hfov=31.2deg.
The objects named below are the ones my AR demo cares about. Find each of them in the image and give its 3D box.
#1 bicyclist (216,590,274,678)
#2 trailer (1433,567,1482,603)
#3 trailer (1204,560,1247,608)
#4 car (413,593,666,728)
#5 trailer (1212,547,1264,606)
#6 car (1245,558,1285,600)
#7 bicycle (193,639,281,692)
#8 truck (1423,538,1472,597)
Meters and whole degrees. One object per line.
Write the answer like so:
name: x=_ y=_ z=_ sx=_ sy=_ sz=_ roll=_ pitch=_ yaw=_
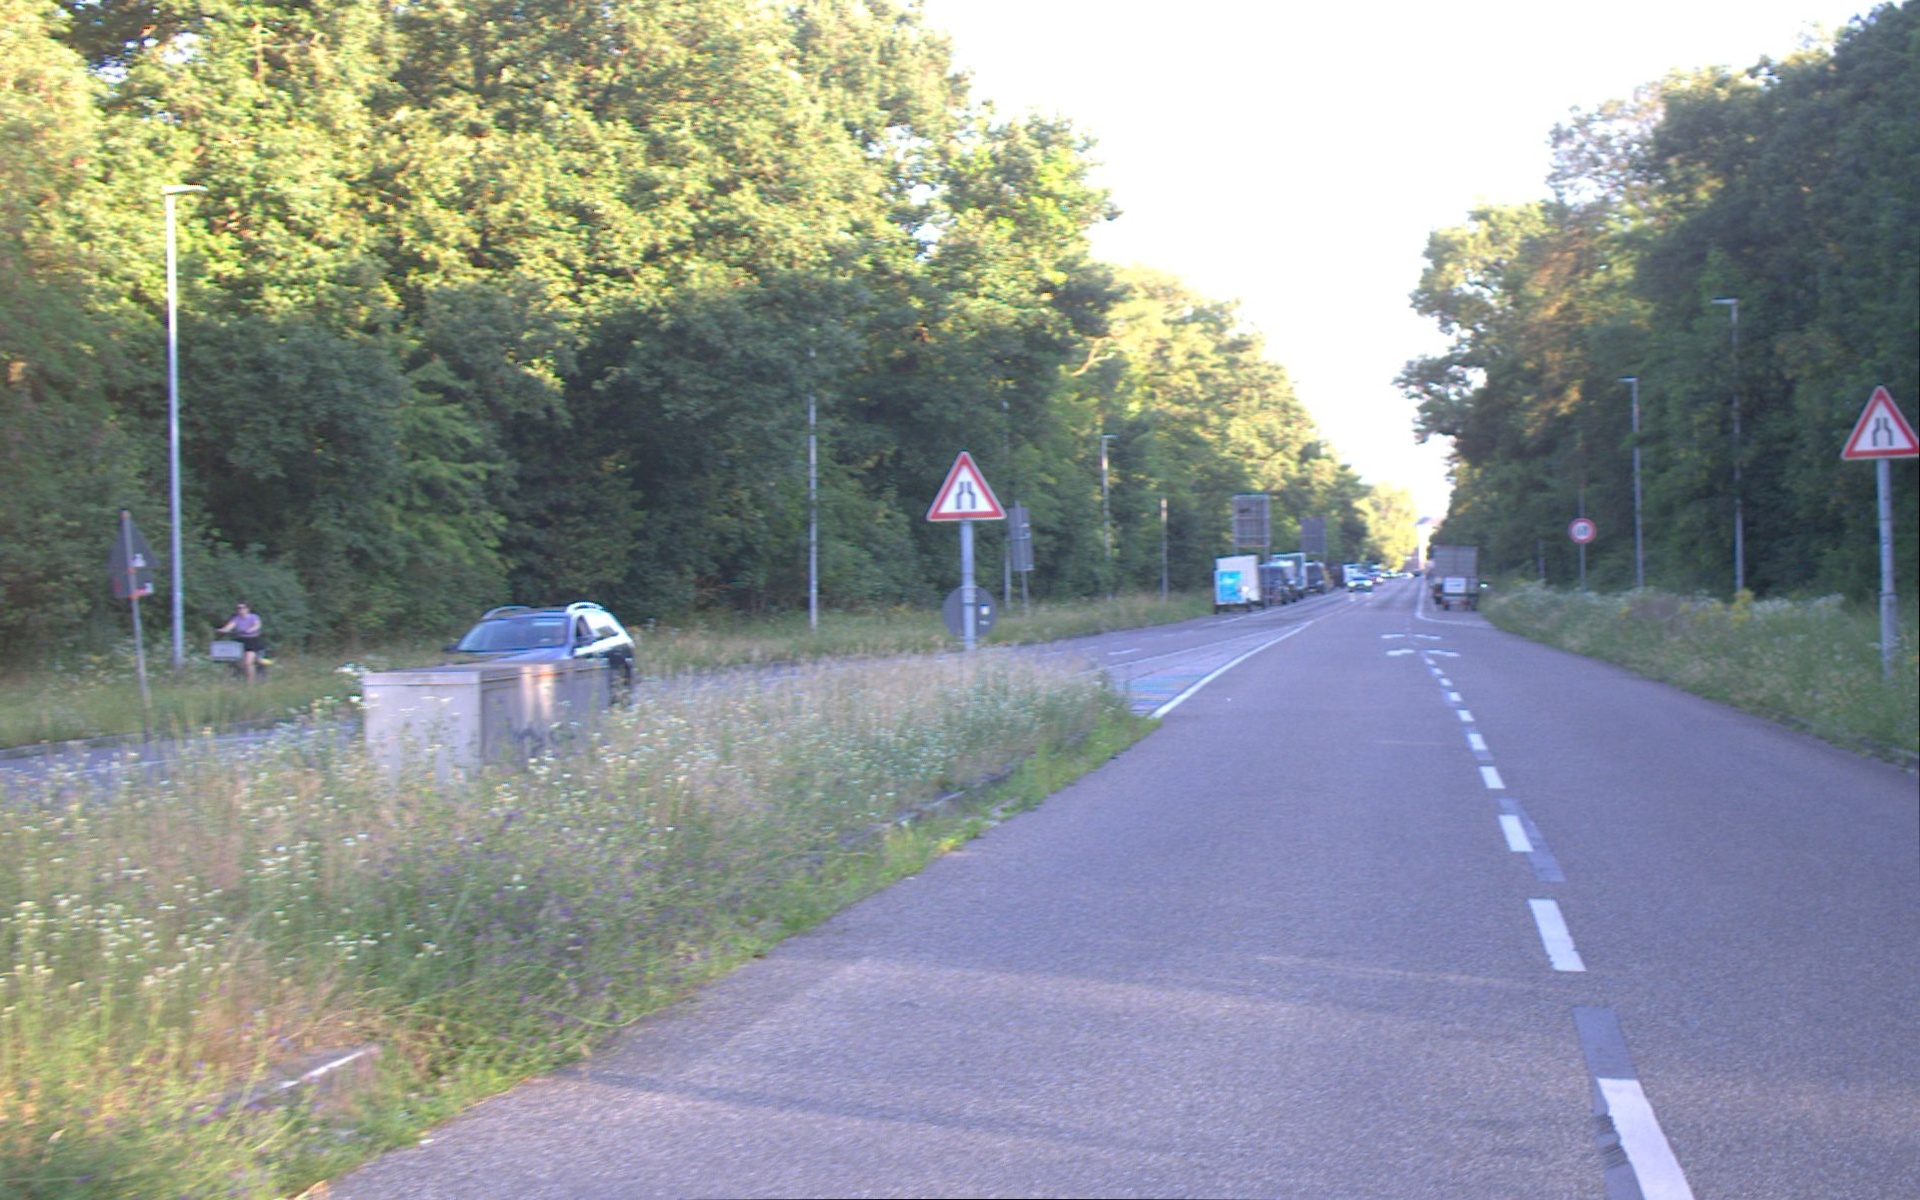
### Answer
bicyclist: x=-11.860 y=0.552 z=57.042 sx=0.586 sy=1.425 sz=0.822 roll=-1 pitch=1 yaw=15
trailer: x=23.396 y=-0.715 z=161.733 sx=1.457 sy=1.656 sz=3.773 roll=-2 pitch=0 yaw=21
trailer: x=12.658 y=-0.769 z=163.543 sx=1.817 sy=2.160 sz=4.142 roll=-2 pitch=0 yaw=7
car: x=-5.271 y=0.729 z=43.729 sx=1.820 sy=1.528 sz=4.453 roll=-3 pitch=0 yaw=11
trailer: x=14.486 y=-1.244 z=179.043 sx=2.326 sy=2.914 sz=5.625 roll=-3 pitch=0 yaw=7
car: x=18.133 y=-1.234 z=204.113 sx=1.994 sy=2.356 sz=5.764 roll=-3 pitch=0 yaw=8
bicycle: x=-11.959 y=1.078 z=56.903 sx=0.586 sy=0.802 sz=1.957 roll=-1 pitch=0 yaw=15
truck: x=27.544 y=-1.807 z=193.931 sx=2.590 sy=3.244 sz=7.218 roll=0 pitch=0 yaw=9
